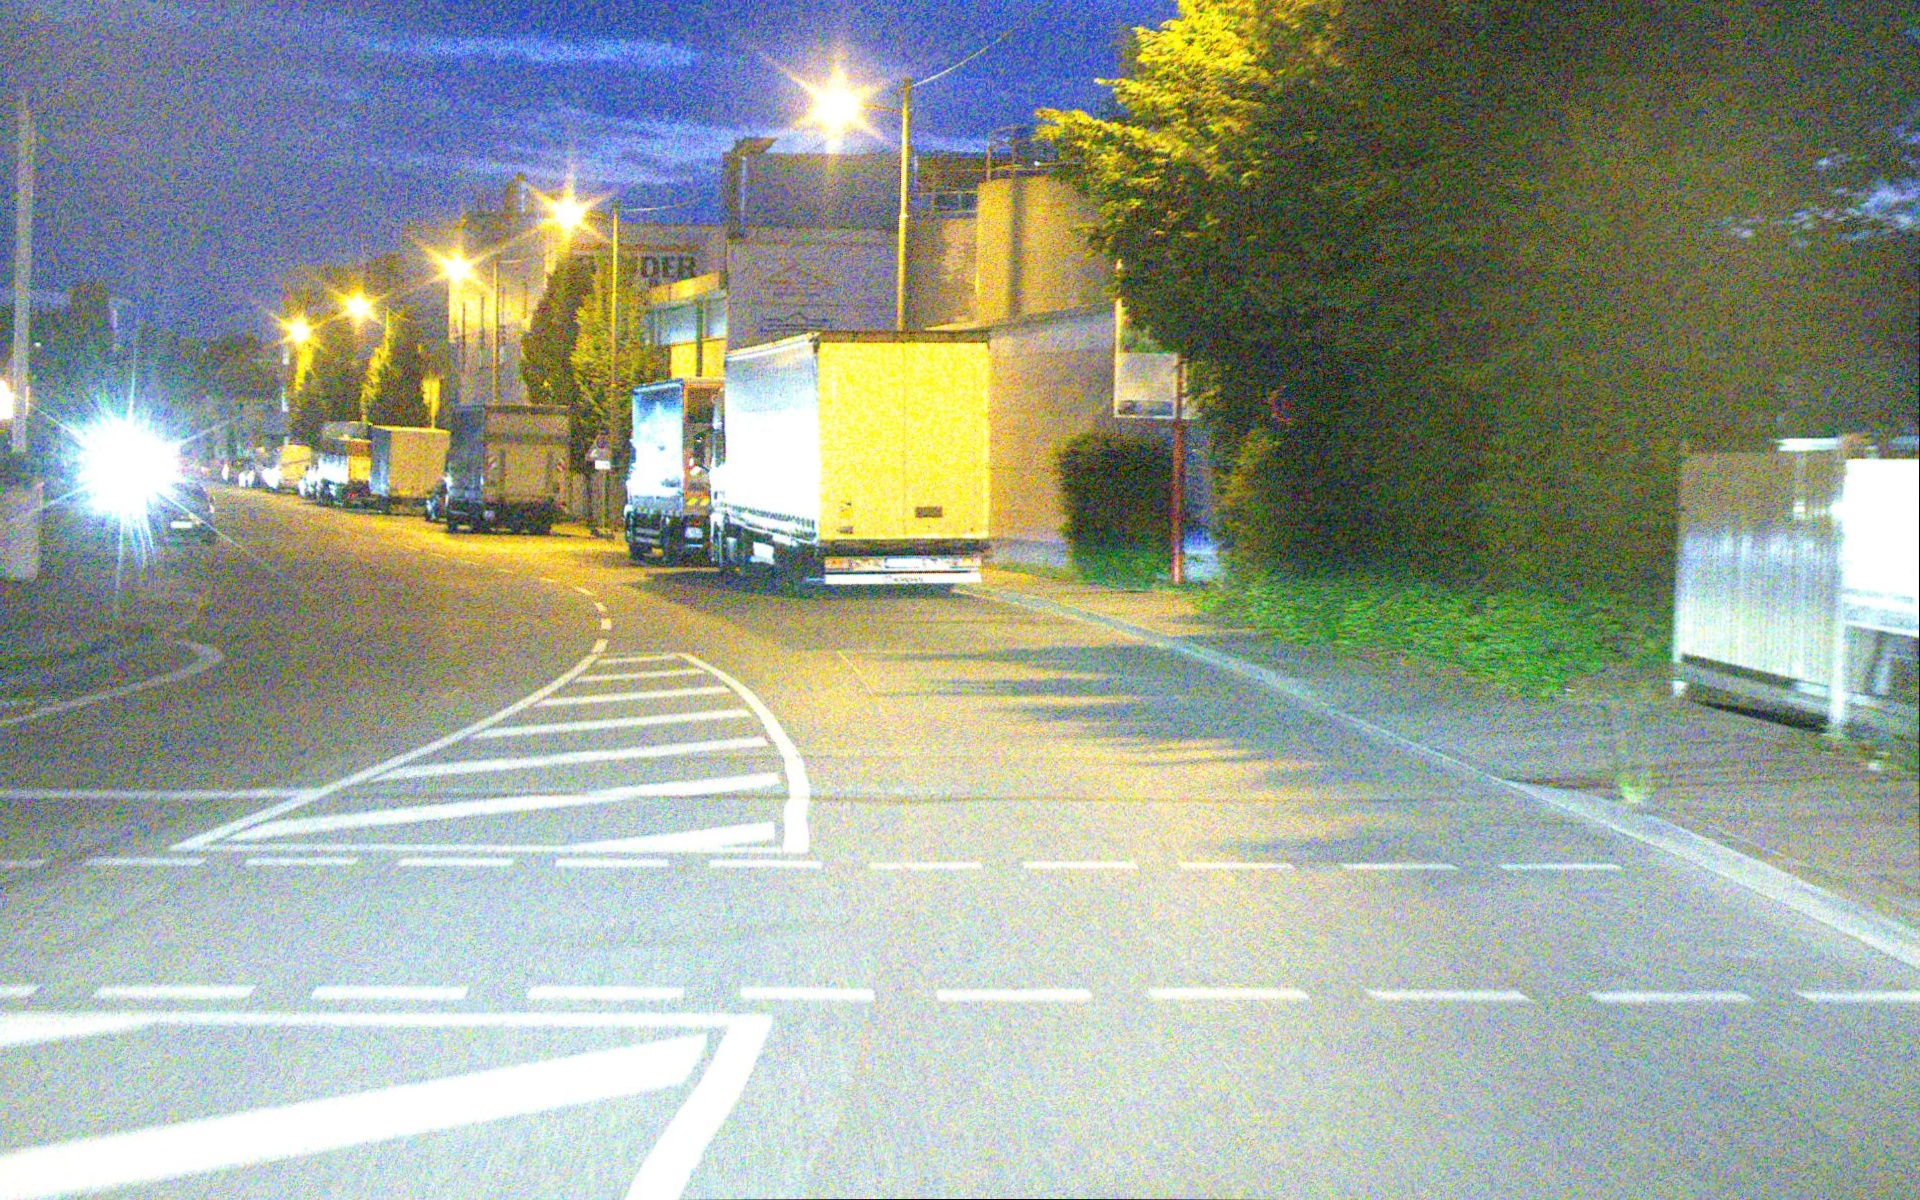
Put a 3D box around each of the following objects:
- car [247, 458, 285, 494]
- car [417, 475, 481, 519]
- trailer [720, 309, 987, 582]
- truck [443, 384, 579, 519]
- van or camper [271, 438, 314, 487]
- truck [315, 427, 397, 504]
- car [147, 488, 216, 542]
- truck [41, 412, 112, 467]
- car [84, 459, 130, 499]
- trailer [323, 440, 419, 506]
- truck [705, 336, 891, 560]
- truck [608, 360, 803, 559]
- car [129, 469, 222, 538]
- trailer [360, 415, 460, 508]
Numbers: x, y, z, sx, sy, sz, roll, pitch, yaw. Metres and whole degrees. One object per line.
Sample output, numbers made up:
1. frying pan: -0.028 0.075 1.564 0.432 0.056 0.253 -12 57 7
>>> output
1. car: -42.234 -7.550 209.168 1.993 2.138 4.002 1 2 -15
2. car: -18.079 -3.645 121.500 1.852 1.514 3.819 0 2 -14
3. trailer: -2.029 -2.470 57.136 2.808 3.969 13.979 0 2 -8
4. truck: -14.024 -4.554 106.687 3.519 3.969 10.346 0 2 -11
5. van or camper: -36.816 -7.588 189.473 1.993 2.572 4.917 1 2 -14
6. truck: -27.596 -6.105 156.857 3.150 3.451 6.676 -1 2 -15
7. car: -20.913 -2.298 92.246 1.601 1.349 4.002 1 2 -15
8. truck: -60.721 -10.995 236.068 3.889 3.609 8.263 1 2 -20
9. car: -39.857 -5.660 160.546 1.993 1.787 4.002 1 2 -15
10. trailer: -25.763 -5.518 149.967 3.183 2.739 10.719 -1 2 -15
11. truck: -3.088 -2.788 63.935 2.829 3.969 6.052 0 2 -9
12. truck: -5.620 -2.980 74.075 2.829 3.969 10.346 0 2 -12
13. car: -19.786 -2.435 86.602 1.993 1.631 4.776 1 1 -16
14. trailer: -21.523 -5.385 134.186 2.686 3.452 7.812 1 1 -17
